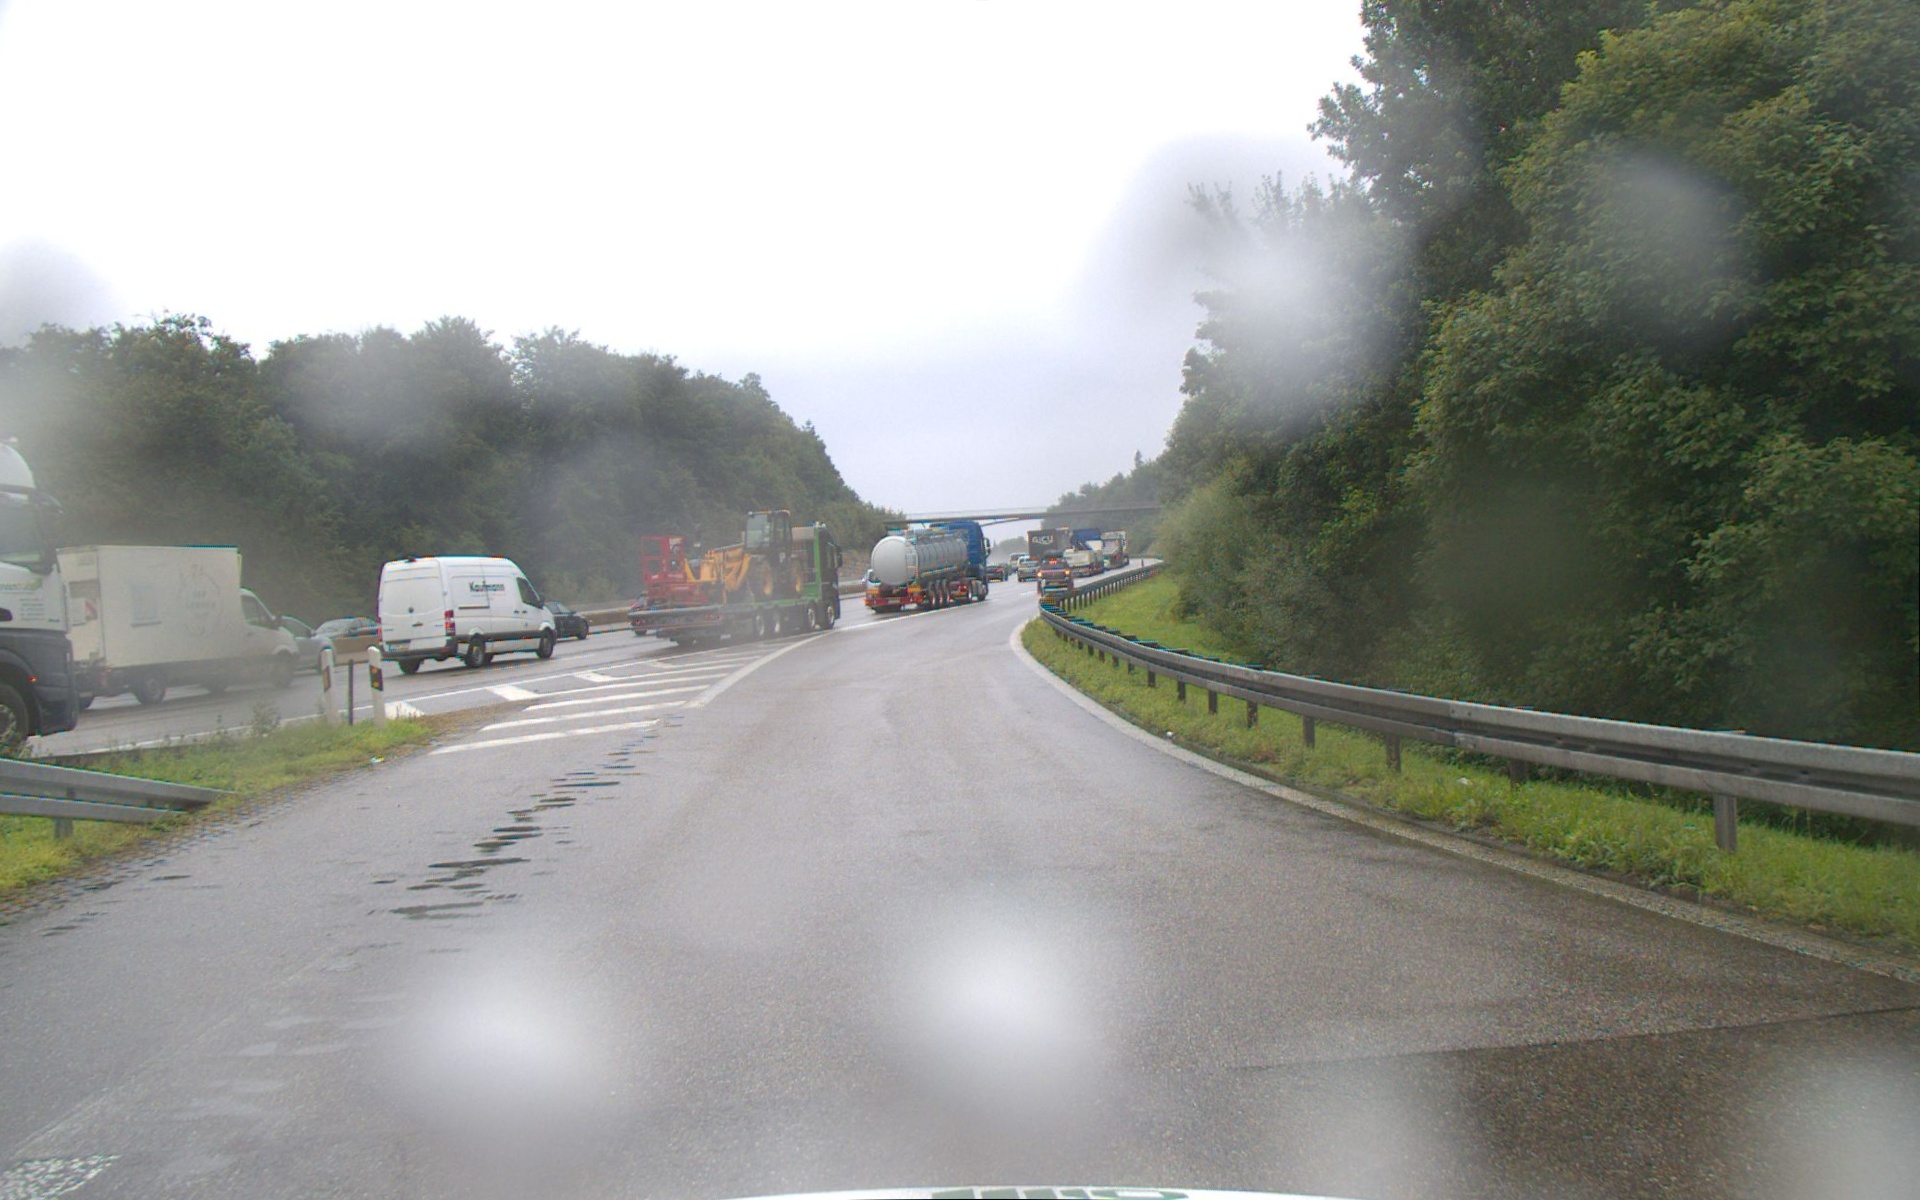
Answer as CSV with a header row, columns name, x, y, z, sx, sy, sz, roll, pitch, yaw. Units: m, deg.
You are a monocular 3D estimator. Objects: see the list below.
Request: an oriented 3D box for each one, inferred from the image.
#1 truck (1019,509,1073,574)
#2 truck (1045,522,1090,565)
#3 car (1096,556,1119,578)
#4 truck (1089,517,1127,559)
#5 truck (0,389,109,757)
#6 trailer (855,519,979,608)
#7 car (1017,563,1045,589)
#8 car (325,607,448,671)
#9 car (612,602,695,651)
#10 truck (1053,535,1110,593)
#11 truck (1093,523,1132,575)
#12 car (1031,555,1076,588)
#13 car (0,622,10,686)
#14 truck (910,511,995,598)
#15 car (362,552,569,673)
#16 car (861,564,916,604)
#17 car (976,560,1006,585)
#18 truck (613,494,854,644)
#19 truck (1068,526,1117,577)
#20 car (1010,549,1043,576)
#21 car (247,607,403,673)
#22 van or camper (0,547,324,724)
name,x,y,z,sx,sy,sz,roll,pitch,yaw
truck,7.786,-5.149,148.884,3.674,5.595,10.182,0,0,10
truck,11.534,-5.957,176.791,3.500,4.166,10.889,-3,0,9
car,13.888,-3.116,155.706,1.759,1.937,4.004,-3,0,8
truck,15.377,-6.324,170.761,3.675,4.040,11.067,0,0,6
truck,-12.700,-0.196,17.269,2.856,4.170,6.725,-3,0,14
trailer,-1.671,-1.648,70.733,2.812,3.345,10.089,-3,2,12
car,5.525,-1.843,127.733,1.759,1.937,4.003,-1,0,8
car,-18.210,1.198,52.732,1.738,1.735,4.004,-3,1,13
car,-11.437,0.952,61.934,1.747,1.757,4.004,0,0,10
truck,9.759,-2.910,131.670,3.524,4.175,11.571,-4,1,8
truck,17.879,-5.918,193.610,4.244,5.864,9.738,0,0,7
car,4.921,-1.466,86.258,1.951,1.665,4.003,0,0,9
car,-23.242,1.357,35.836,1.707,1.449,4.838,-3,1,13
truck,-0.291,-2.148,77.440,2.816,3.757,5.062,-3,1,11
car,-12.073,0.215,40.939,2.168,2.675,5.849,-3,1,13
car,-3.499,-0.797,81.199,1.780,1.797,4.004,-3,1,10
car,2.594,-2.310,137.502,1.759,1.937,4.004,-3,0,9
truck,-6.205,-0.974,48.202,2.771,3.650,11.810,-4,1,13
truck,11.916,-4.253,147.474,3.432,4.342,10.613,0,0,9
car,8.029,-4.486,199.184,3.177,3.055,6.779,0,0,9
car,-18.112,1.111,47.400,1.826,1.548,4.635,-3,1,13
van or camper,-16.845,0.601,35.199,2.524,3.259,7.138,-3,1,12
